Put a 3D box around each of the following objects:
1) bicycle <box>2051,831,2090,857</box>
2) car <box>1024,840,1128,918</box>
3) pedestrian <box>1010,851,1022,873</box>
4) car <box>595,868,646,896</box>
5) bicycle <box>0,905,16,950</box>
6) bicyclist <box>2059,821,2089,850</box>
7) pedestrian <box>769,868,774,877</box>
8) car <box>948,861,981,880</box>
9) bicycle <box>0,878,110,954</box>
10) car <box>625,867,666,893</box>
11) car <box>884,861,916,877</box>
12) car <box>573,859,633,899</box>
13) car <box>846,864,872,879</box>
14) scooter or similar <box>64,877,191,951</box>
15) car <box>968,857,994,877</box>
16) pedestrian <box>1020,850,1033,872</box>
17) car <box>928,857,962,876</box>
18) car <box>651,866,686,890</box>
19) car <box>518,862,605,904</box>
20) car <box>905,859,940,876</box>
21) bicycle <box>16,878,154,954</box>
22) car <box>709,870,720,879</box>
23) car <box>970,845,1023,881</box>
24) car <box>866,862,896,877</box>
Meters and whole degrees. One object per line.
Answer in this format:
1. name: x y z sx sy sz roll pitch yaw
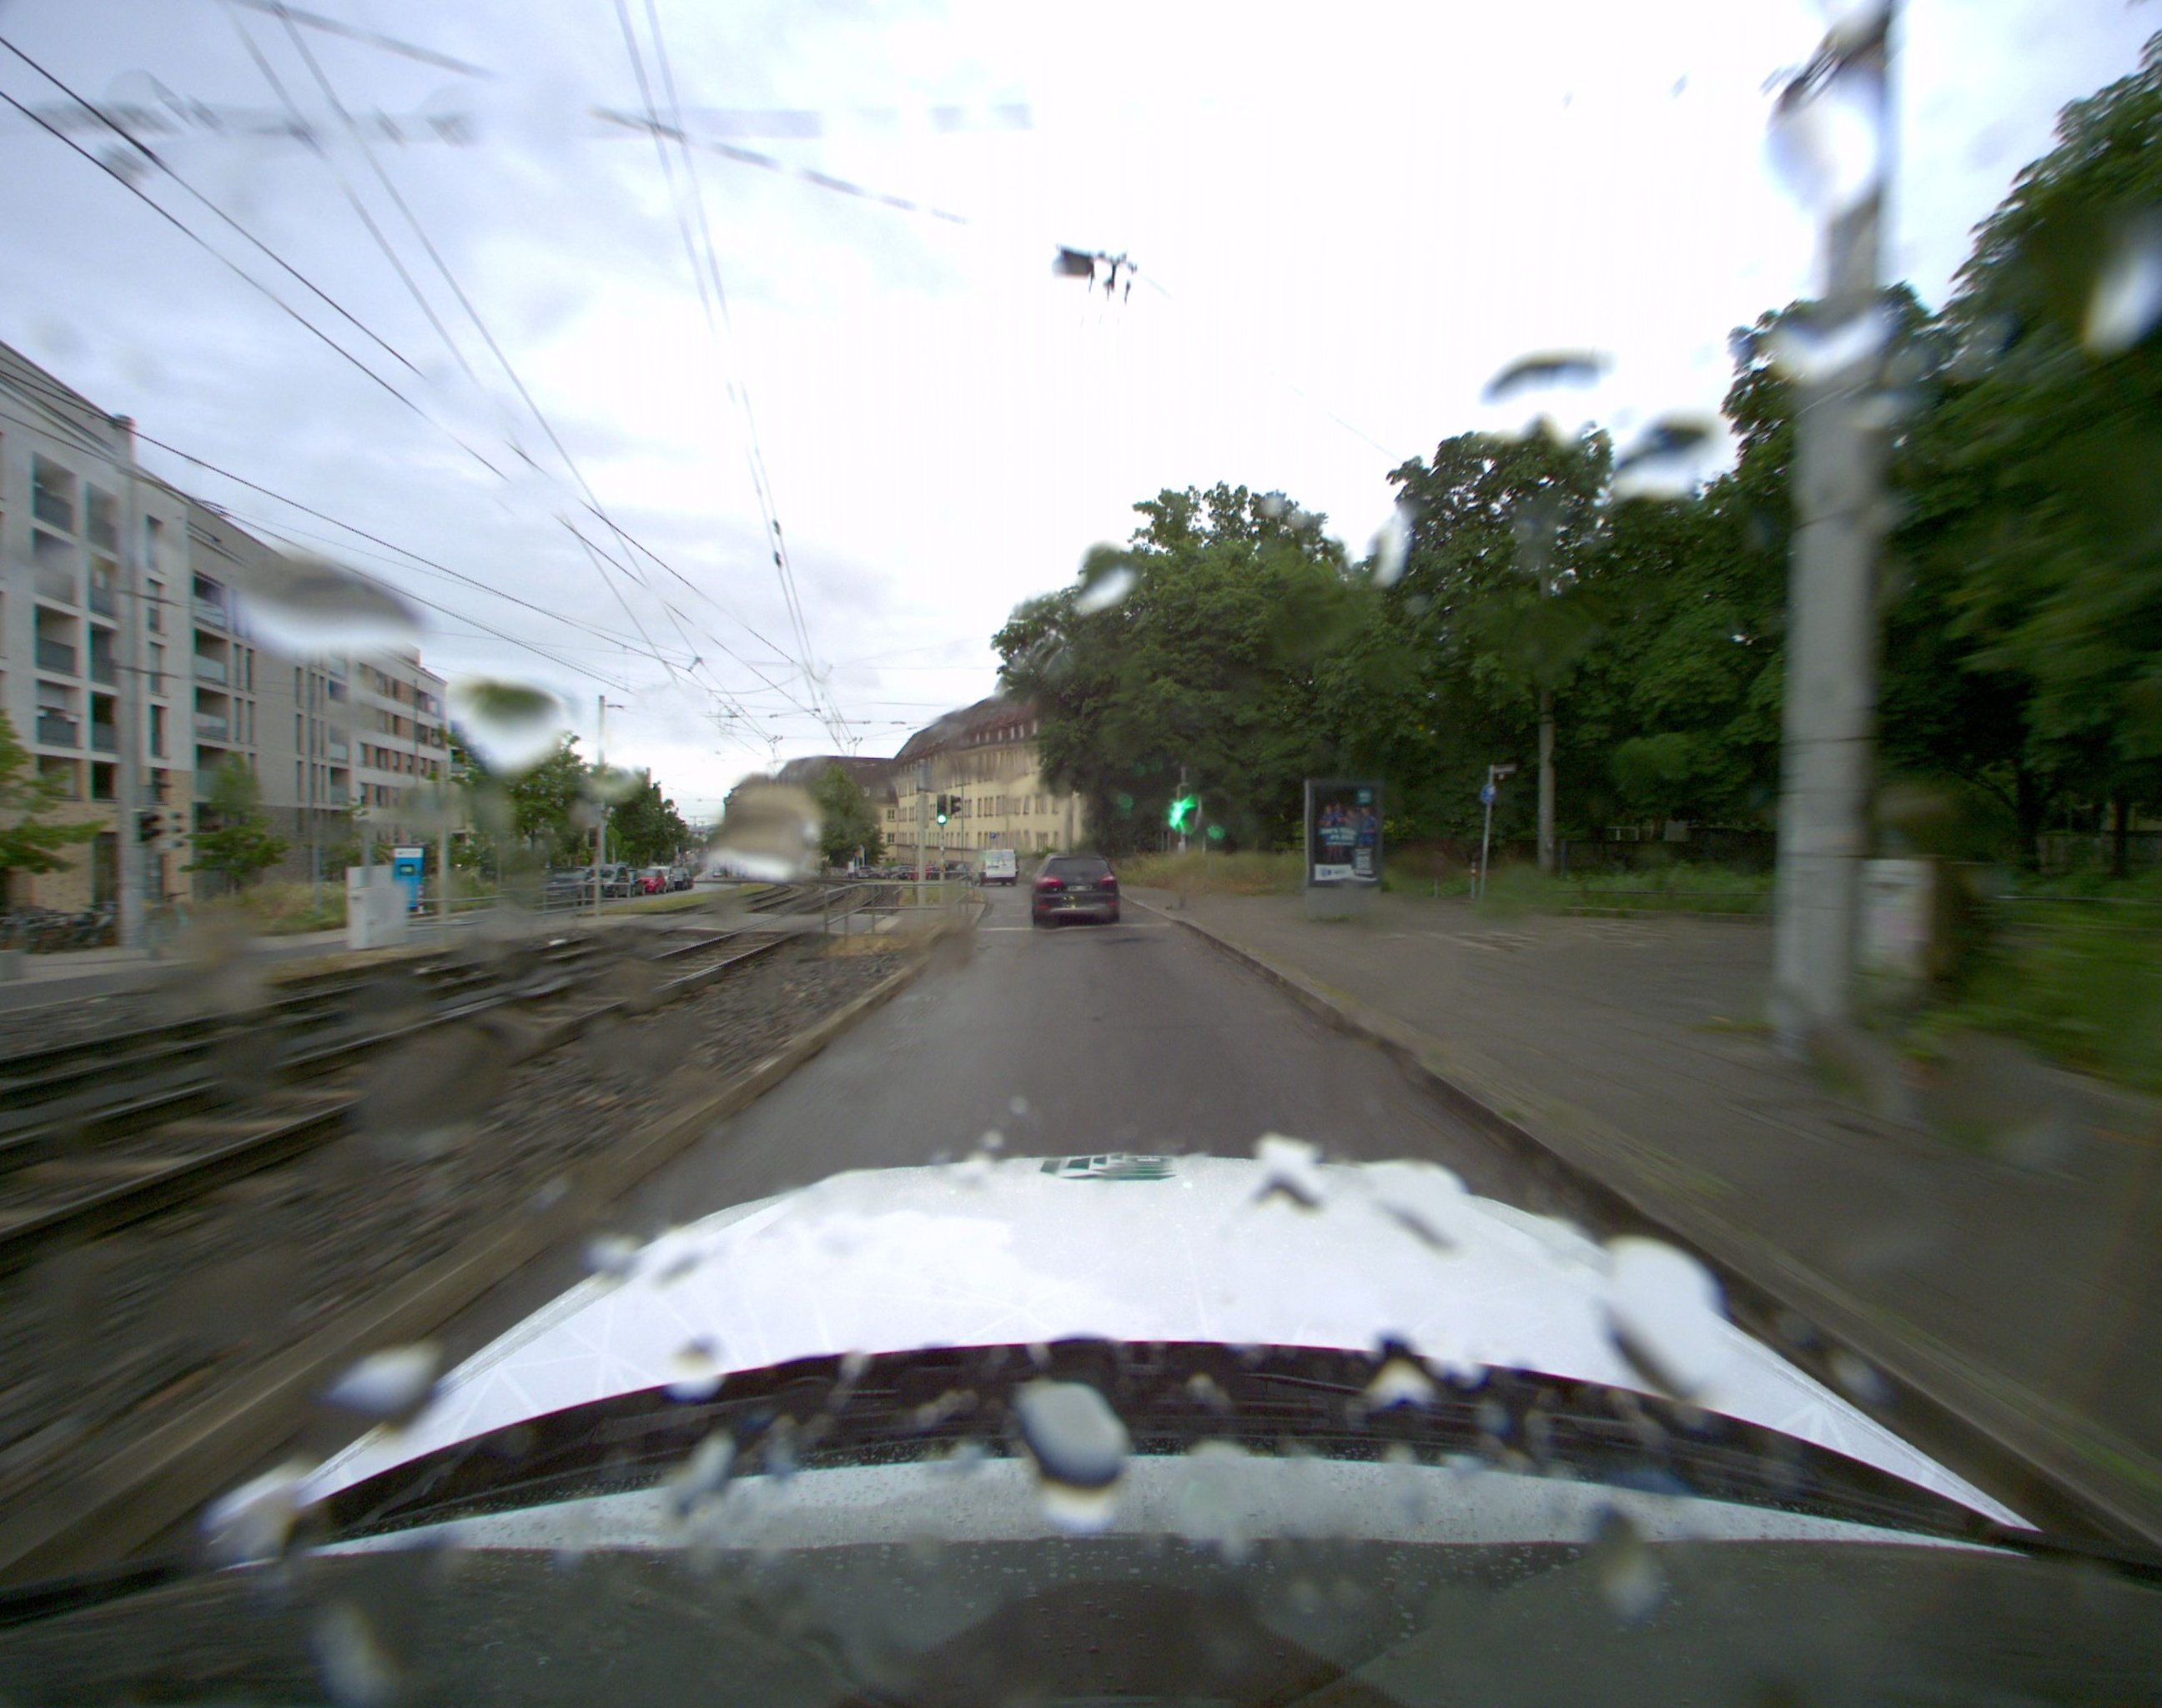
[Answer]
1. bicycle: 44.485 -0.460 36.599 1.713 1.140 0.621 -1 -1 -22
2. car: -0.234 0.494 18.013 1.917 1.479 3.992 -2 0 -6
3. pedestrian: -5.235 0.622 65.484 0.721 1.754 0.733 -2 -1 -23
4. car: -25.042 1.516 44.451 1.555 1.447 4.372 0 -1 -18
5. bicycle: -25.897 1.765 18.585 0.474 1.047 2.224 -2 0 -8
6. bicyclist: 44.801 -0.827 36.740 0.801 1.294 0.590 -1 -2 -23
7. pedestrian: -49.148 2.920 129.362 0.508 1.315 0.505 -1 -1 -35
8. car: -9.589 1.378 66.823 1.544 1.416 3.611 -2 0 -27
9. bicycle: -23.977 1.388 18.802 0.675 1.596 2.351 -1 -1 -11
10. car: -26.043 1.546 48.790 1.471 1.531 2.916 1 -1 -14
11. car: -18.037 1.465 80.927 1.677 1.476 4.412 -2 0 -32
12. car: -23.166 1.198 39.590 1.585 1.859 4.306 1 -1 -18
13. car: -24.700 1.979 90.708 1.677 1.524 4.067 -2 0 -32
14. scooter or similar: -22.369 1.354 19.191 0.600 1.596 2.351 -1 -1 -11
15. car: -7.804 1.010 63.278 1.601 1.465 2.706 -2 0 -16
16. pedestrian: -4.408 0.595 65.839 0.721 1.754 0.733 -2 -1 -23
17. car: -12.002 1.101 71.705 1.675 1.573 3.820 -2 0 -28
18. car: -29.650 1.701 58.640 1.738 1.644 4.499 0 -1 -21
19. car: -21.766 1.195 34.323 1.998 1.605 4.190 2 -2 -17
20. car: -14.929 1.267 76.539 1.678 1.476 4.021 0 -2 -36
21. bicycle: -23.118 1.385 18.985 0.675 1.596 2.351 -1 -1 -11
22. car: -77.894 4.376 173.139 2.003 1.772 3.968 -1 -1 -24
23. car: -4.480 0.473 42.697 2.140 1.745 4.197 -2 0 -15
24. car: -21.112 1.636 85.838 1.678 1.476 4.064 -2 0 -34
